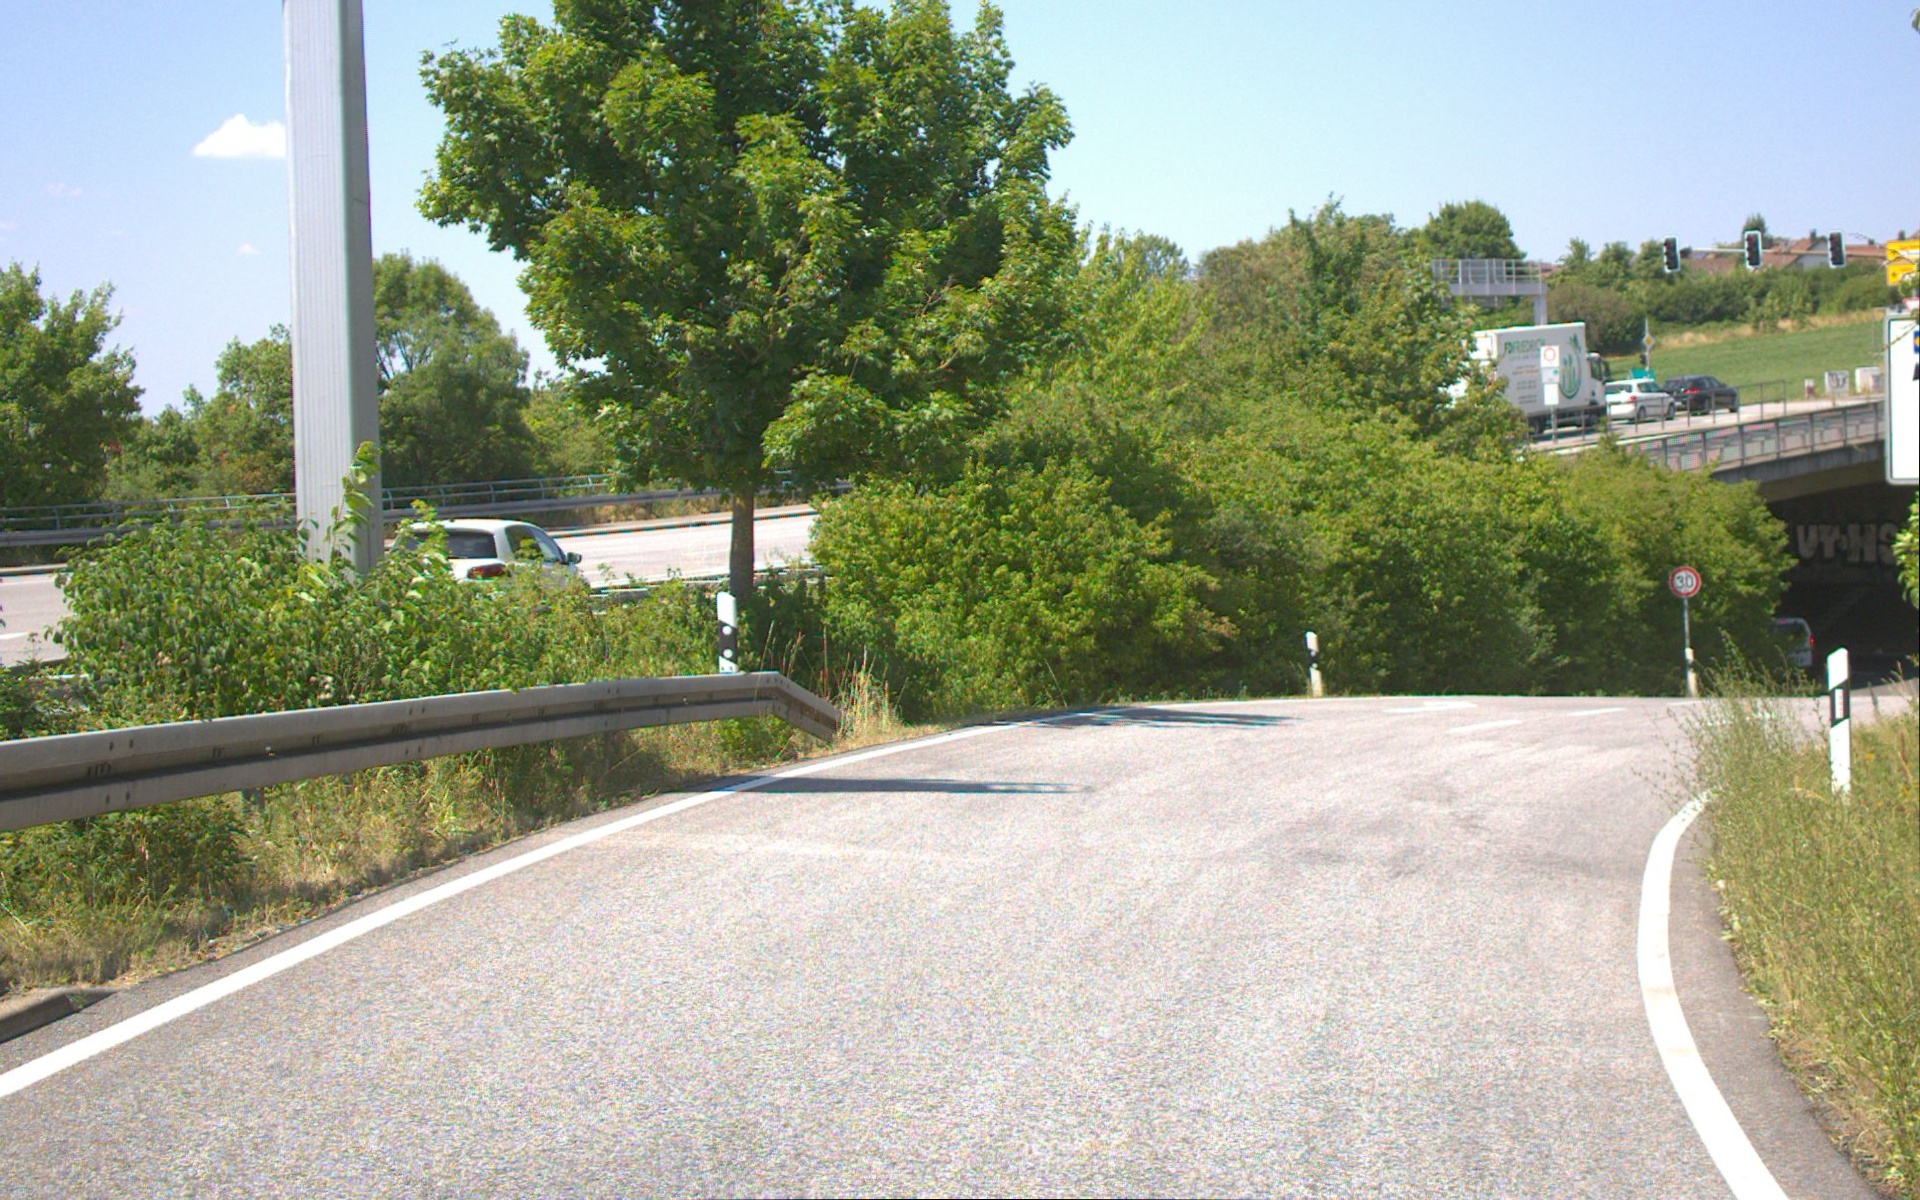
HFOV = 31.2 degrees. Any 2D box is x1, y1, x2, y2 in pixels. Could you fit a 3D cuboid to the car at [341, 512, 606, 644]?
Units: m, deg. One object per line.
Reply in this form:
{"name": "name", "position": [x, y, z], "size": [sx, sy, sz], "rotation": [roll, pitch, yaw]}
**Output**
{"name": "car", "position": [-5.724, -0.277, 40.952], "size": [1.994, 1.481, 4.134], "rotation": [-1, 1, 9]}

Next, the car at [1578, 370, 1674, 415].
{"name": "car", "position": [22.799, -7.078, 117.594], "size": [1.900, 1.358, 3.993], "rotation": [1, 1, 33]}

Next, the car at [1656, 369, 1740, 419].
{"name": "car", "position": [26.615, -7.392, 123.836], "size": [1.996, 1.612, 3.994], "rotation": [1, 1, 27]}

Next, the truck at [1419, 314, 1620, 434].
{"name": "truck", "position": [18.304, -7.317, 111.920], "size": [3.032, 3.577, 8.888], "rotation": [-2, 2, 32]}
